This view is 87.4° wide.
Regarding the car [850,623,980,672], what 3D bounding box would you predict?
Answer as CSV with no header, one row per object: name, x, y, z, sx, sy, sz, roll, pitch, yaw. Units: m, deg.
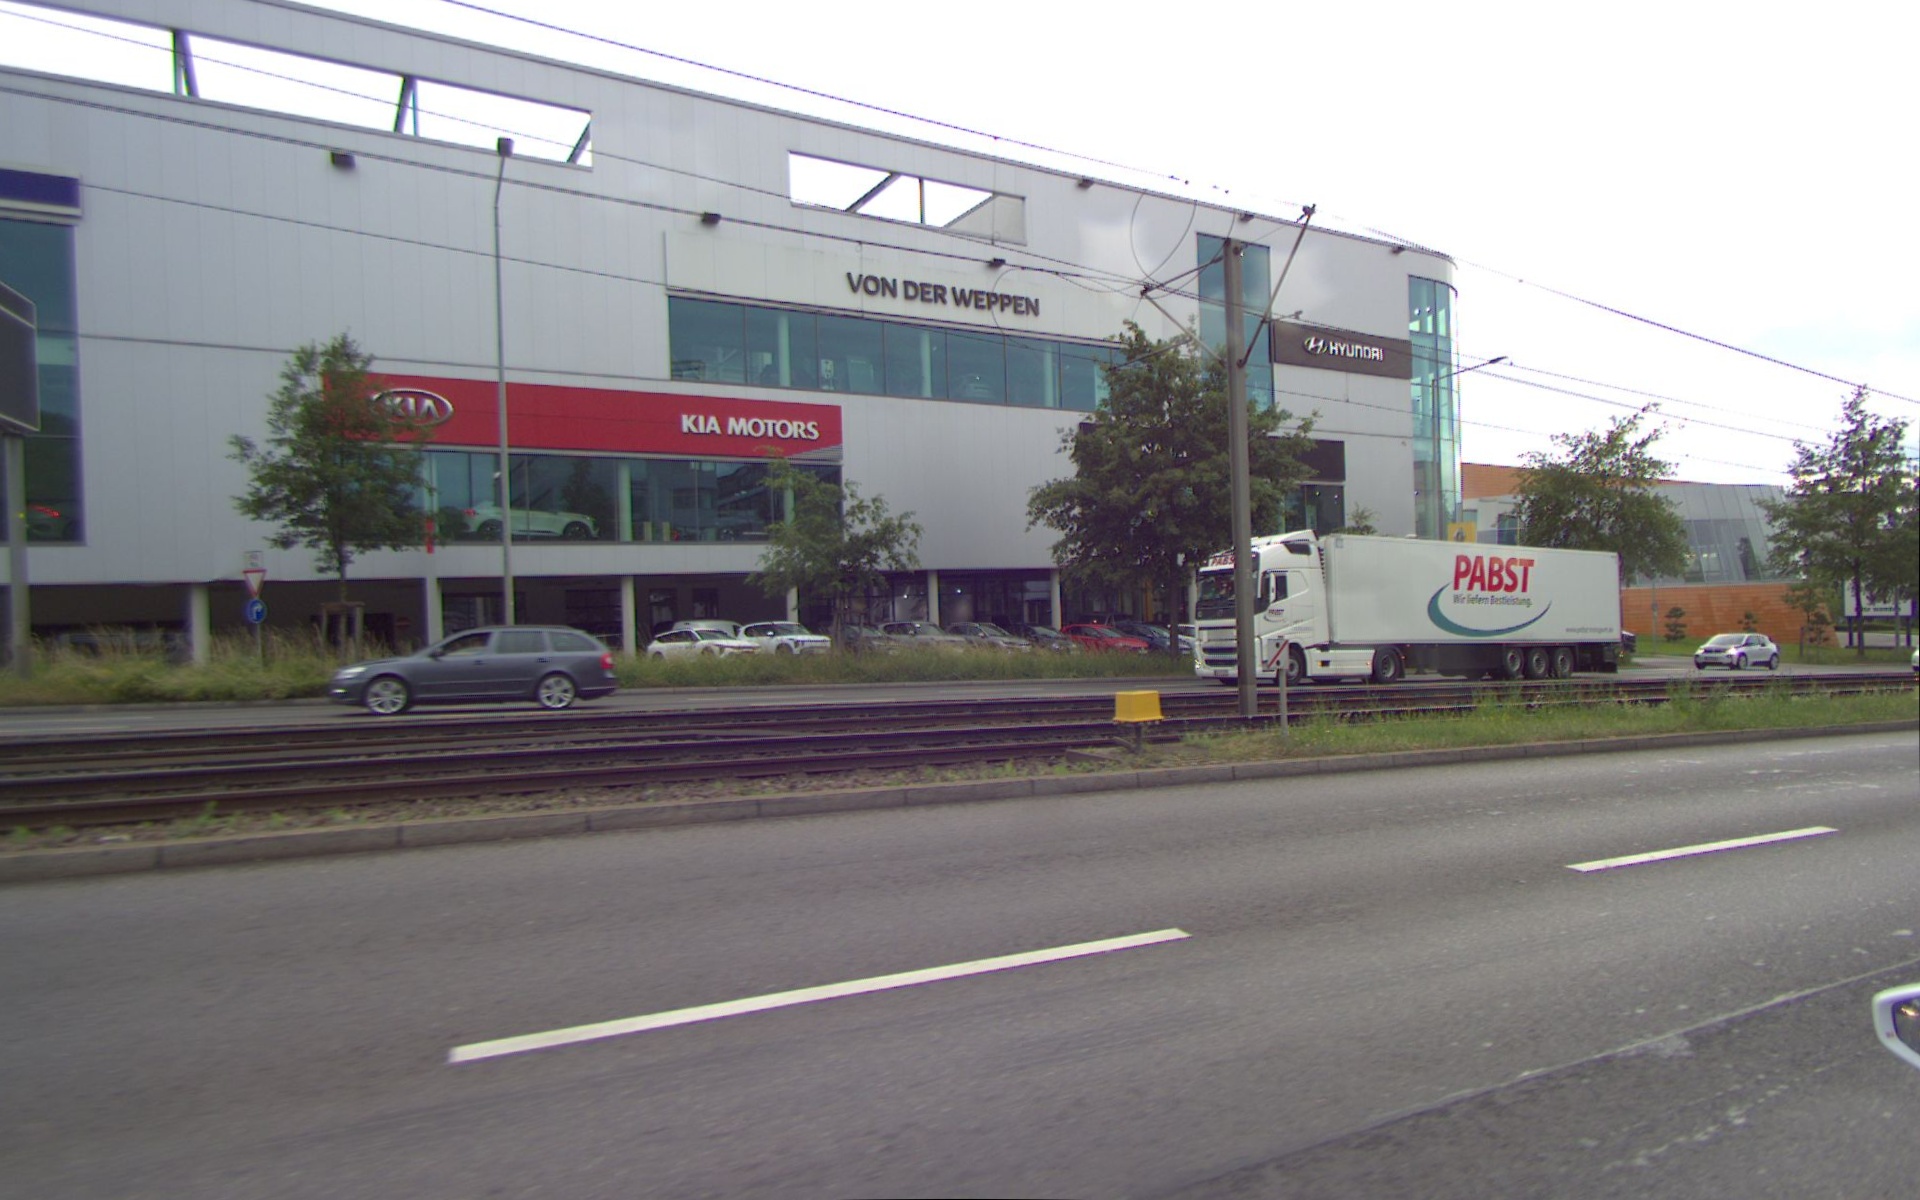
car,-1.730,1.710,37.323,4.949,1.675,2.008,-1,-2,44

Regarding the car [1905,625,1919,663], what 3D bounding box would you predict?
car,39.368,1.780,39.818,3.849,1.461,1.656,2,0,-29

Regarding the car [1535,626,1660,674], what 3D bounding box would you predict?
car,35.977,2.759,56.817,2.253,2.464,5.581,2,0,-45

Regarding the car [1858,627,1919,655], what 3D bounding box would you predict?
car,68.854,2.983,73.462,2.073,1.834,4.303,0,1,-29

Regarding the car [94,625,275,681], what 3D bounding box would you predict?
car,-27.334,1.824,35.646,4.886,1.816,1.982,1,0,-33

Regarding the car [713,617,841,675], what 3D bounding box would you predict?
car,-6.317,1.508,34.408,4.573,1.851,2.008,-1,-2,44

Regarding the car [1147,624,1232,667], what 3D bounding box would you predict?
car,9.942,1.953,43.597,1.658,1.769,3.297,1,-2,-42

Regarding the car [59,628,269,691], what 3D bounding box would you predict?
car,-24.708,1.800,31.466,4.883,1.748,1.984,1,0,-31

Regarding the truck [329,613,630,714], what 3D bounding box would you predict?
truck,-8.226,1.103,17.603,4.481,1.588,1.938,2,-3,-24

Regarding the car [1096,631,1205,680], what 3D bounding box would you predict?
car,7.940,2.281,42.143,1.869,1.889,4.304,1,-2,-42

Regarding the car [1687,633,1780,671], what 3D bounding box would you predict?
car,34.068,2.267,44.236,3.844,1.564,1.657,2,0,-26

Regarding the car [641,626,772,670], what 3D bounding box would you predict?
car,-8.374,1.540,33.001,4.265,1.324,1.866,-1,-2,35

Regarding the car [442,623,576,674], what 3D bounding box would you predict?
car,-18.847,1.968,42.041,4.886,1.936,1.982,1,0,-33

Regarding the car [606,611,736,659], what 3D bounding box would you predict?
car,-10.856,1.288,37.761,4.552,1.686,2.018,0,-1,27

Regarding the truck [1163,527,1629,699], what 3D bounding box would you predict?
truck,13.738,0.326,30.213,16.986,4.237,3.029,0,0,-28

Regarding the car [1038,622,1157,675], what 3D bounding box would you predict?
car,5.550,1.921,40.924,4.553,2.002,2.008,-1,-2,44
